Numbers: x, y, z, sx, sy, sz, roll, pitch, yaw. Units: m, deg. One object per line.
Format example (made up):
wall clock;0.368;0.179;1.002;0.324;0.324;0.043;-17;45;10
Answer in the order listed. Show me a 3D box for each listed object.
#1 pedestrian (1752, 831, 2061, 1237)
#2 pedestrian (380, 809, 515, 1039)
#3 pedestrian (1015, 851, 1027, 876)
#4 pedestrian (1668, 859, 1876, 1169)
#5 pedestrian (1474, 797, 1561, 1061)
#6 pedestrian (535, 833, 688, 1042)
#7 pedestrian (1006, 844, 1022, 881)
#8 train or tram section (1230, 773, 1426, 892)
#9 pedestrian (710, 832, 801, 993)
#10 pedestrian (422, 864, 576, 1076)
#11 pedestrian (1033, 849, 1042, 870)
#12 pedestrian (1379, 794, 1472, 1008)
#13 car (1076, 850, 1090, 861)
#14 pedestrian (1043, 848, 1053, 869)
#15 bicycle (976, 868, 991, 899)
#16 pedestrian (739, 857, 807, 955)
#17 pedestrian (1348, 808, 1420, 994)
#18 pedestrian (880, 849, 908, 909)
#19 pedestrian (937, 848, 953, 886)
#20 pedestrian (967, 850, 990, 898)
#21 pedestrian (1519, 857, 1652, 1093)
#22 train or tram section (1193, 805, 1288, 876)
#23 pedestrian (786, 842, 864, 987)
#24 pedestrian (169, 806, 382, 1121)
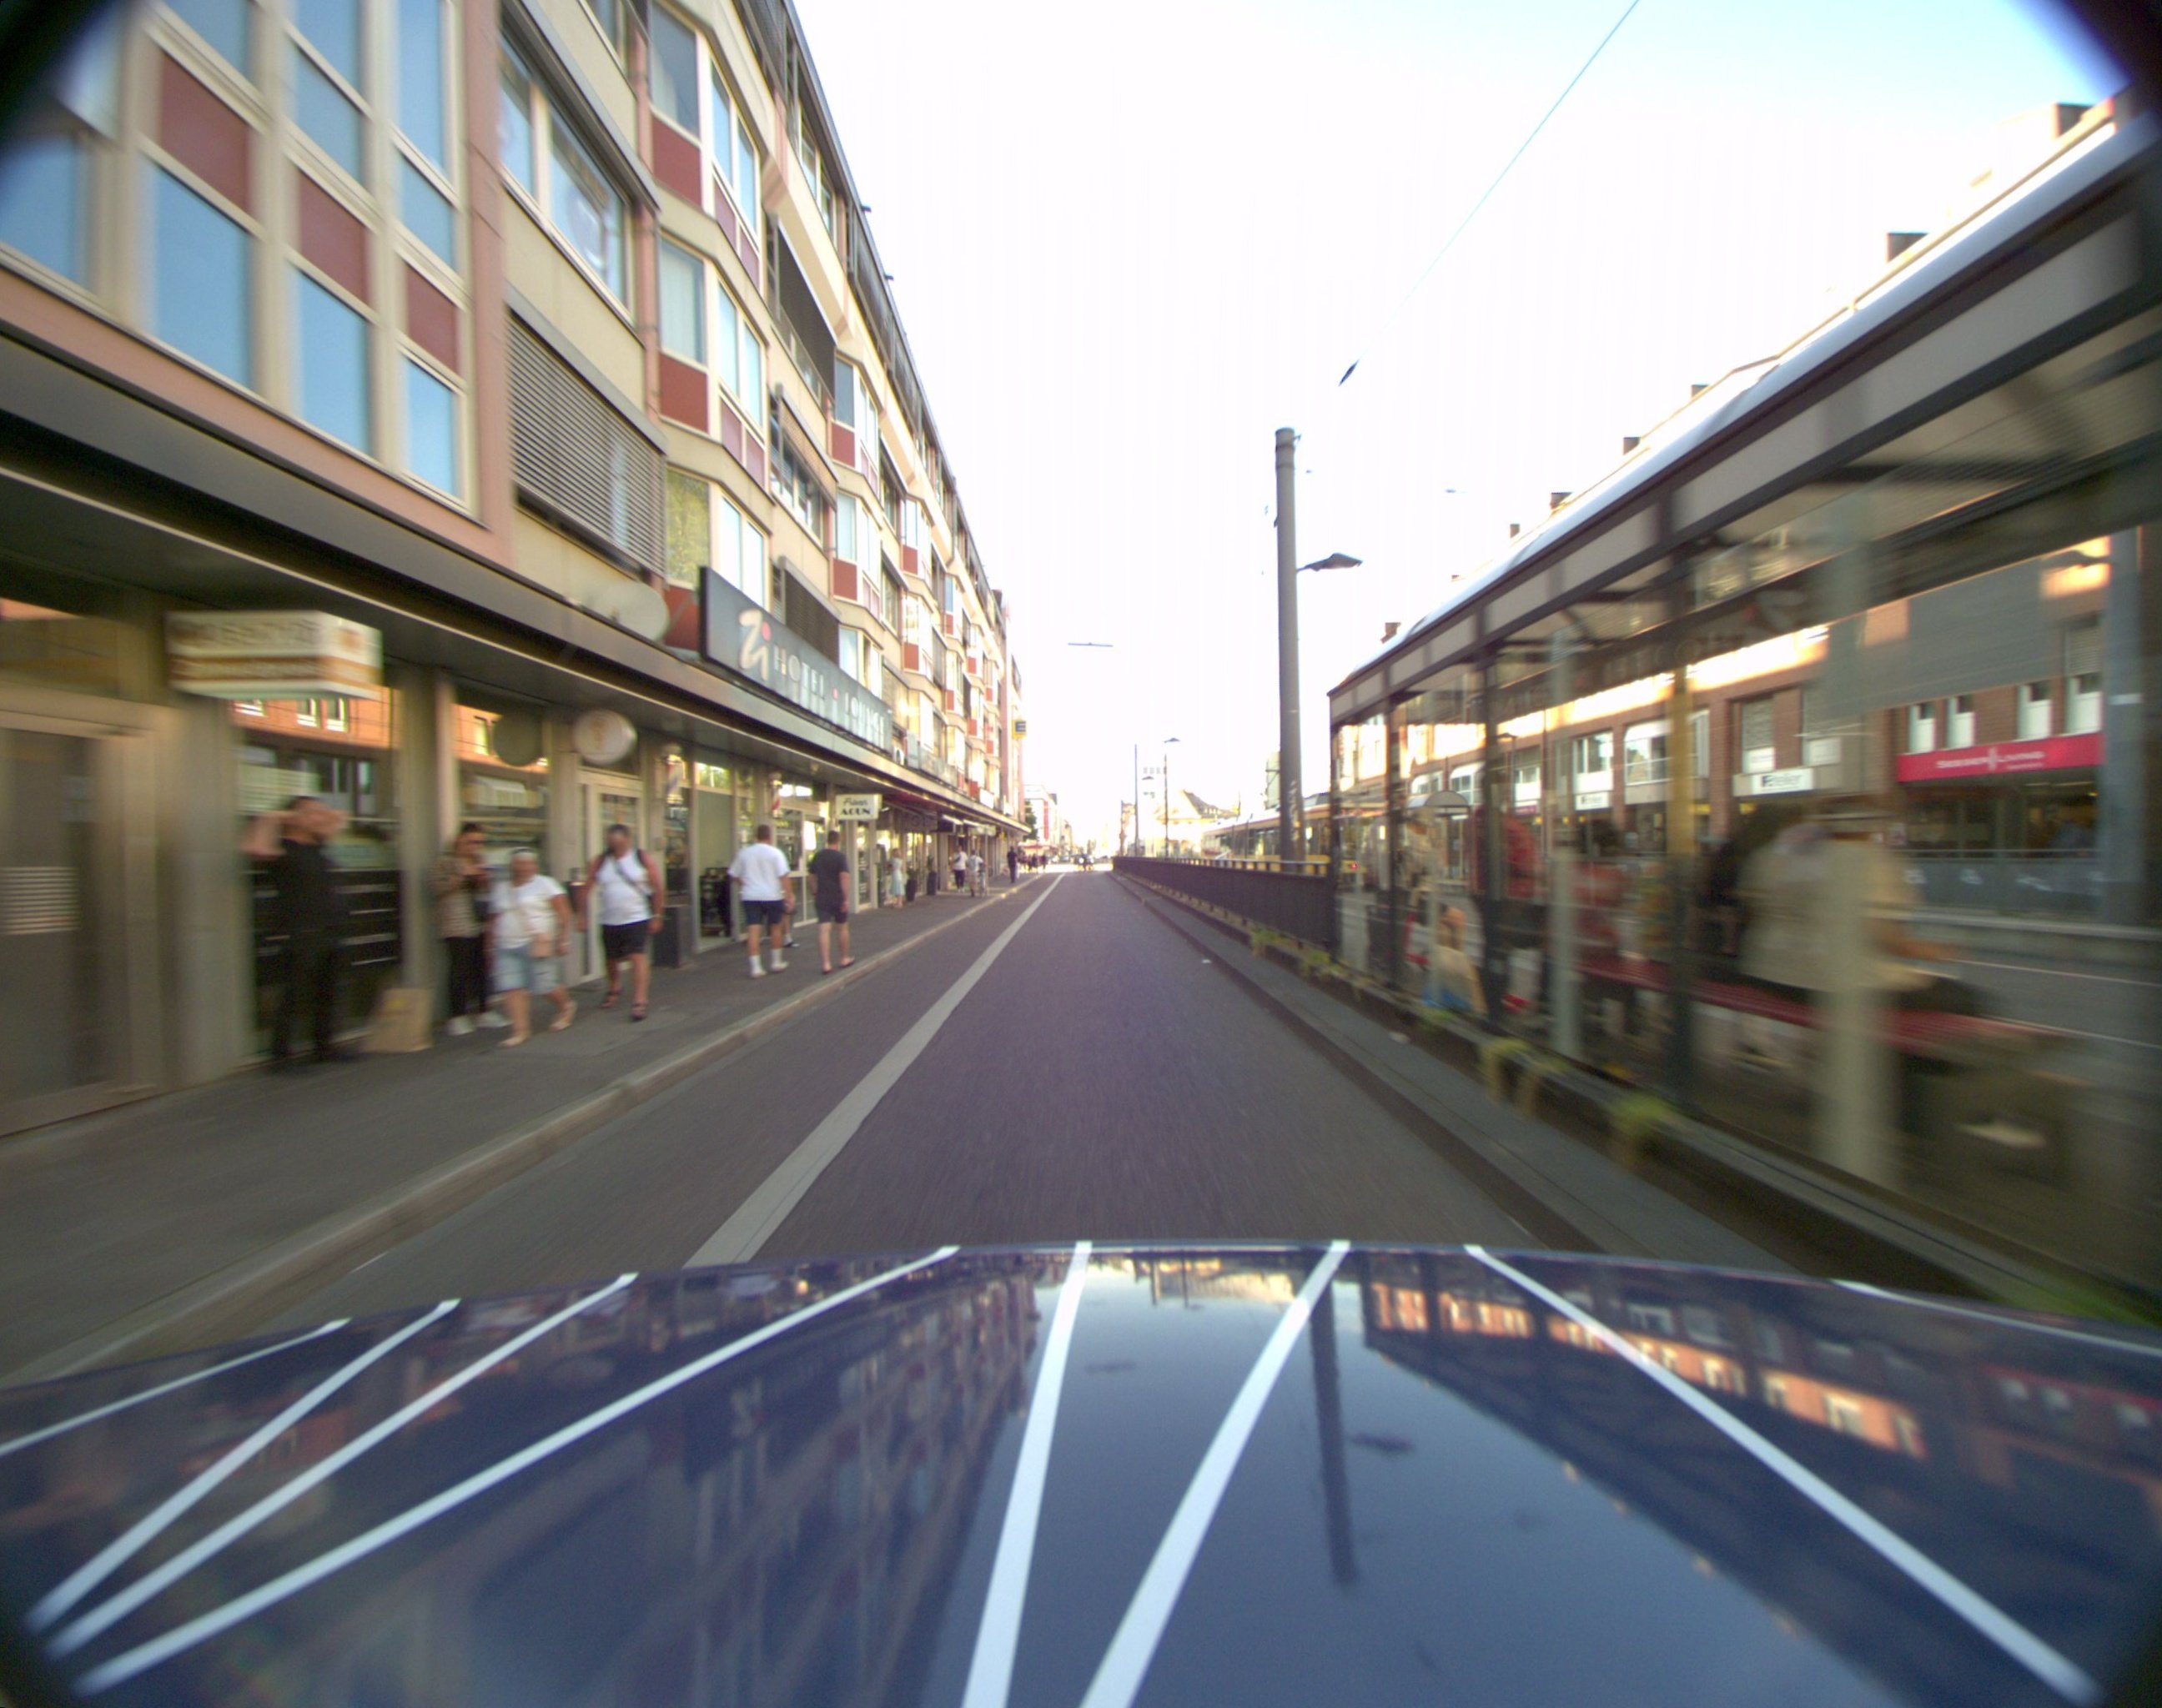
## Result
pedestrian;2.769;0.559;2.588;0.541;1.245;0.460;-2;1;-1
pedestrian;-5.016;0.536;6.043;0.631;1.759;0.500;0;1;1
pedestrian;-3.715;0.602;46.799;0.667;1.512;0.789;1;1;-2
pedestrian;2.775;0.604;3.085;0.409;1.146;0.460;-2;1;-1
pedestrian;2.727;0.444;4.776;0.321;1.563;0.543;-2;2;16
pedestrian;-4.125;0.693;6.748;0.746;1.717;0.814;-3;1;1
pedestrian;-3.444;0.420;38.863;0.676;1.850;0.992;1;1;2
train or tram section;9.422;-0.658;32.284;2.981;3.623;16.485;-3;0;0
pedestrian;-3.850;0.664;9.037;0.707;1.809;0.763;2;1;0
pedestrian;-4.341;0.831;5.710;0.637;1.475;0.654;2;1;-1
pedestrian;-3.459;0.429;60.664;0.709;1.604;0.495;0;3;-1
pedestrian;2.649;0.342;5.876;0.425;1.564;0.592;-2;1;0
car;0.250;0.187;106.552;1.772;1.458;3.811;-2;0;-2
pedestrian;-2.863;0.379;65.053;0.680;1.832;0.606;-3;1;-12
bicycle;-3.346;0.993;26.186;0.303;0.984;1.760;0;1;-1
pedestrian;-4.813;0.792;11.918;0.740;1.464;0.707;2;1;1
pedestrian;2.641;0.395;6.651;0.425;1.564;0.447;-2;1;0
pedestrian;-4.987;0.661;20.279;0.602;1.581;0.553;0;1;0
pedestrian;-5.899;0.541;32.872;0.517;1.623;0.522;-1;1;5
pedestrian;-3.520;0.668;26.130;0.664;1.621;0.705;1;1;-1
pedestrian;2.632;0.602;3.991;0.366;1.146;0.460;-2;1;-1
train or tram section;9.493;-0.781;47.376;2.981;3.623;13.942;-3;1;0
pedestrian;-3.180;0.725;9.492;0.669;1.719;0.810;2;1;-1
pedestrian;-5.075;0.638;4.842;0.452;1.839;0.812;0;1;1
